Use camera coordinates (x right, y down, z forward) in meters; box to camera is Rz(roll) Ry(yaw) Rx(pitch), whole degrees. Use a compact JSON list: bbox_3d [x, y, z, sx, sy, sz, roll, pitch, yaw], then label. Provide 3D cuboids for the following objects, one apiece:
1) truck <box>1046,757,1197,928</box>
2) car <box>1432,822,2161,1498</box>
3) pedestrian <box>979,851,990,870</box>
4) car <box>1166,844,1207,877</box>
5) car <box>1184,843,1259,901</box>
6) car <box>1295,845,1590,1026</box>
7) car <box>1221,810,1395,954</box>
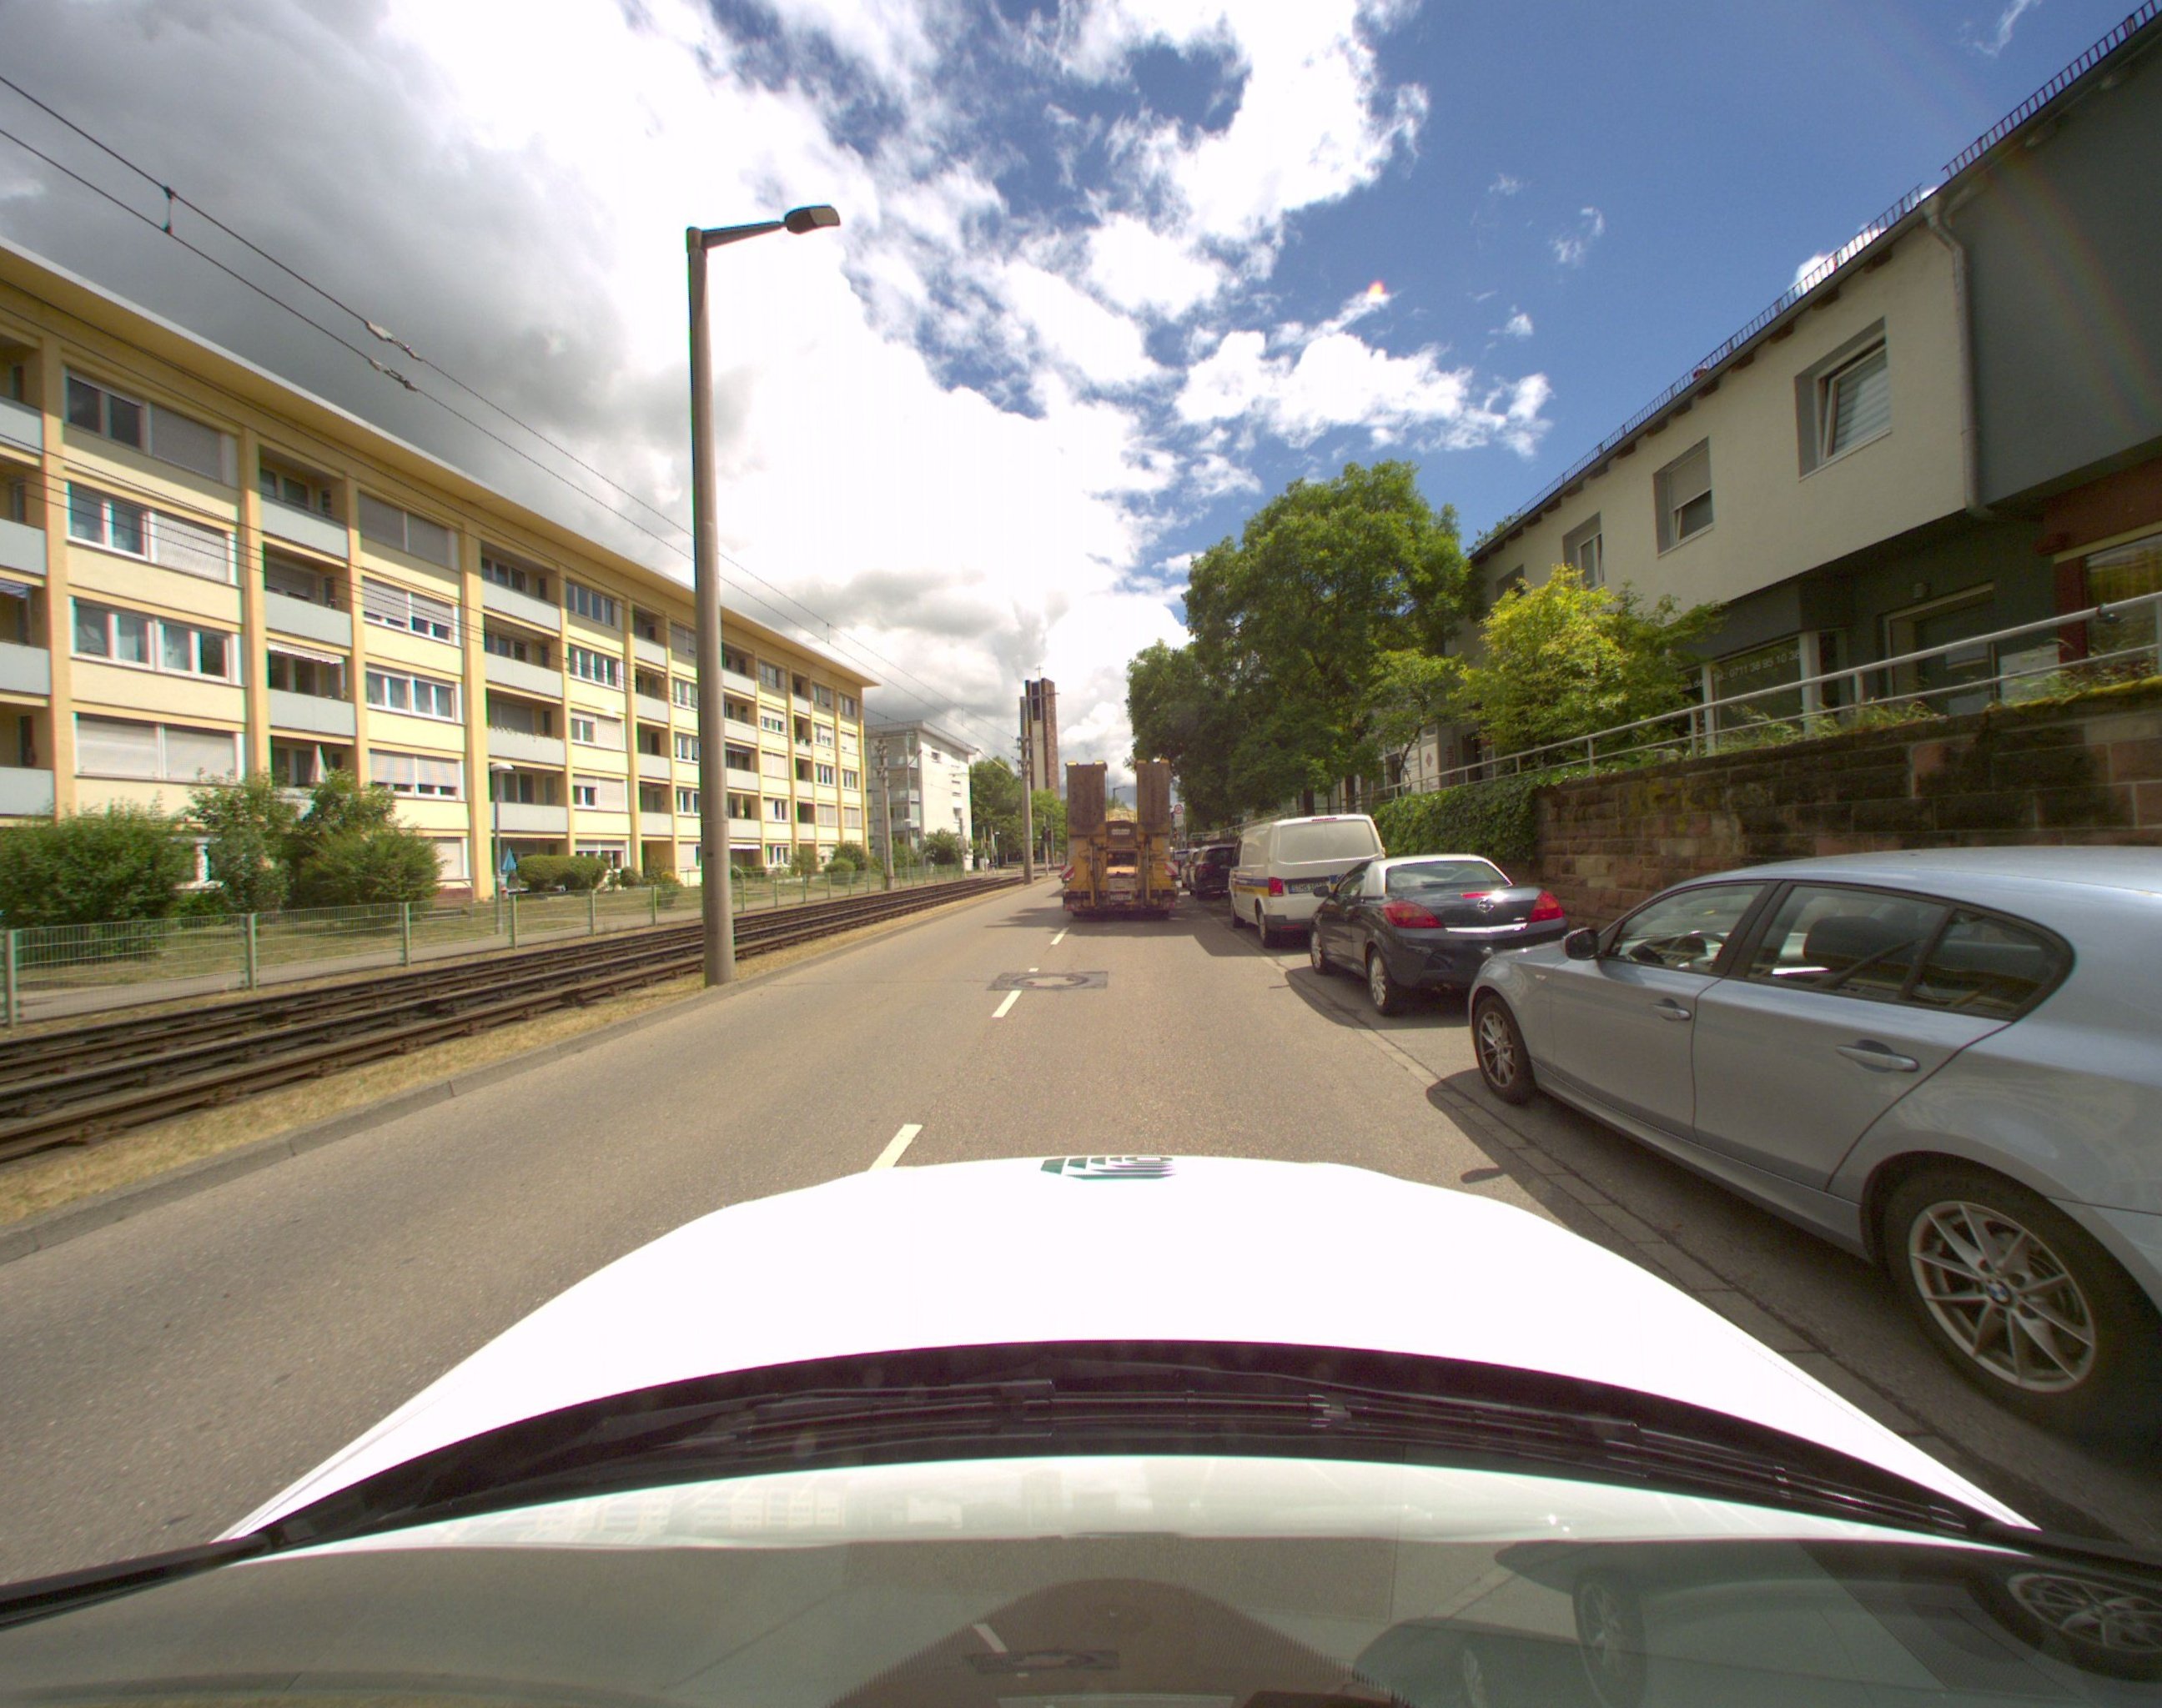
[{"bbox_3d":[1.031,-0.302,23.658,3.112,3.564,12.464,-2,0,1],"label":"truck"},{"bbox_3d":[3.170,0.627,3.391,1.684,1.405,4.070,-3,0,1],"label":"car"},{"bbox_3d":[-10.173,0.687,85.660,0.952,2.013,1.174,-2,0,-12],"label":"pedestrian"},{"bbox_3d":[5.643,0.318,44.105,1.792,1.623,4.294,-2,0,3],"label":"car"},{"bbox_3d":[4.360,0.509,25.835,1.792,1.623,4.294,-2,0,3],"label":"car"},{"bbox_3d":[3.444,0.657,8.516,1.614,1.405,3.653,-3,0,4],"label":"car"},{"bbox_3d":[3.635,0.378,13.932,1.792,1.968,4.593,-3,0,3],"label":"car"}]
